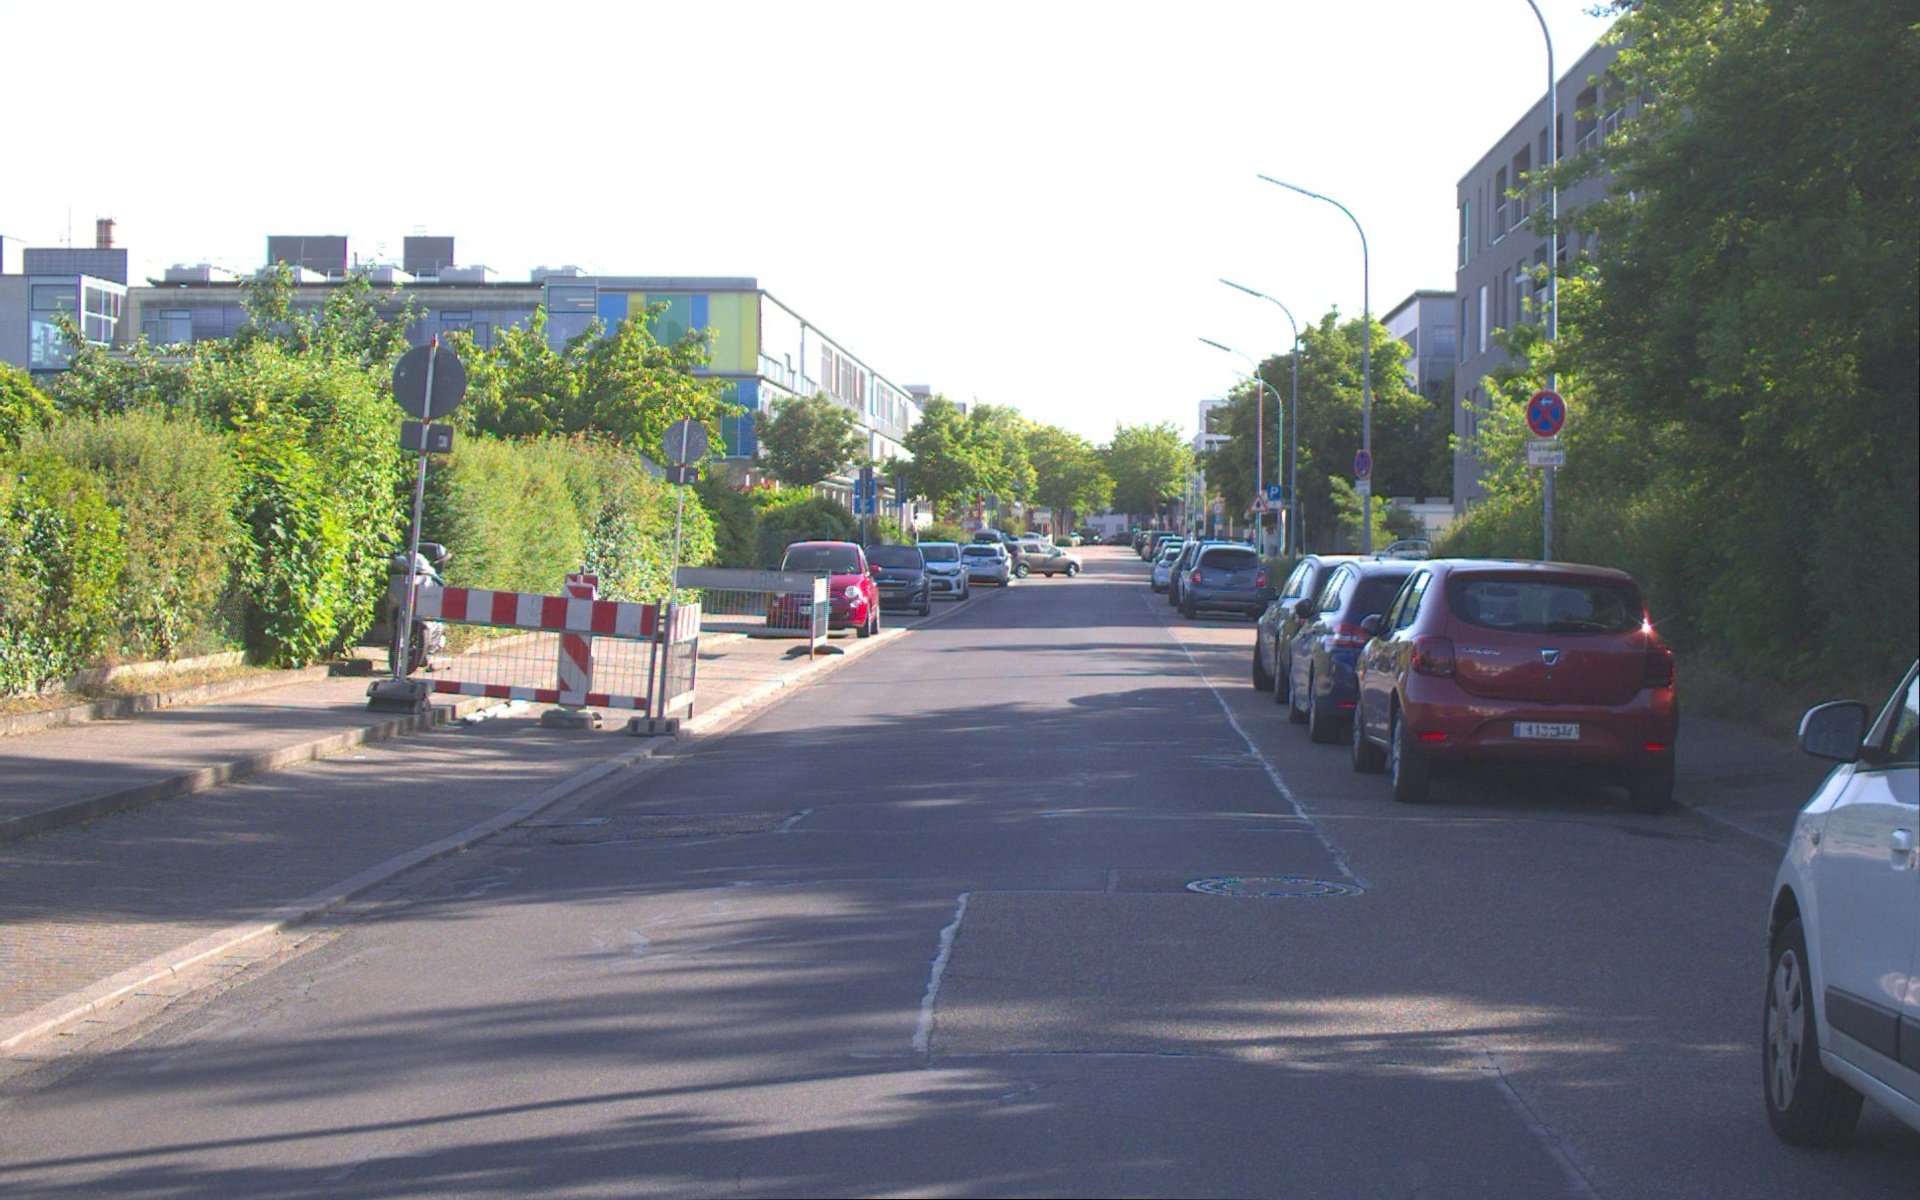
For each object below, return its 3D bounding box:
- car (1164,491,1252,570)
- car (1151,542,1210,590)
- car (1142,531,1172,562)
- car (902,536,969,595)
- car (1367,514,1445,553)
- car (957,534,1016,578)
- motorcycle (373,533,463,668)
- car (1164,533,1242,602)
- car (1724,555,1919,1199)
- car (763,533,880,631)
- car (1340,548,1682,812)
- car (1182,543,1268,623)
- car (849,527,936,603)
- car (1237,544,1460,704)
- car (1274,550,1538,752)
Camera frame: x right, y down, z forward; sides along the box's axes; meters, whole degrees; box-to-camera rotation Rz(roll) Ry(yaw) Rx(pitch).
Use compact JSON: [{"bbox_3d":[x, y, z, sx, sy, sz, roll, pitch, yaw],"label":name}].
[{"bbox_3d":[5.441,-1.531,75.710,1.676,1.603,4.179,3,1,2],"label":"car"},{"bbox_3d":[7.017,-1.087,109.607,1.742,1.423,4.134,2,1,2],"label":"car"},{"bbox_3d":[10.326,-2.821,180.323,1.445,1.544,3.614,2,1,2],"label":"car"},{"bbox_3d":[-0.615,-0.915,89.715,1.560,1.489,3.758,0,1,2],"label":"car"},{"bbox_3d":[19.129,-2.852,147.593,3.216,1.544,1.449,2,1,6],"label":"car"},{"bbox_3d":[0.939,-1.533,118.981,1.854,1.423,4.134,2,1,2],"label":"car"},{"bbox_3d":[-5.288,-0.001,33.643,0.566,1.264,2.091,2,0,-2],"label":"motorcycle"},{"bbox_3d":[6.023,-0.821,85.627,1.742,1.619,4.178,2,1,2],"label":"car"},{"bbox_3d":[2.840,0.713,7.651,1.556,1.533,3.555,3,1,3],"label":"car"},{"bbox_3d":[-2.163,-0.306,54.335,1.560,1.489,3.570,0,1,2],"label":"car"},{"bbox_3d":[3.497,0.450,22.436,1.655,1.481,3.839,3,1,2],"label":"car"},{"bbox_3d":[5.400,-0.366,70.431,1.623,1.521,3.901,3,1,3],"label":"car"},{"bbox_3d":[-1.401,-0.748,72.689,1.560,1.489,3.570,3,1,2],"label":"car"},{"bbox_3d":[3.844,0.187,34.678,1.754,1.408,4.656,3,1,1],"label":"car"},{"bbox_3d":[3.609,0.354,28.537,1.655,1.440,4.656,3,1,2],"label":"car"}]
